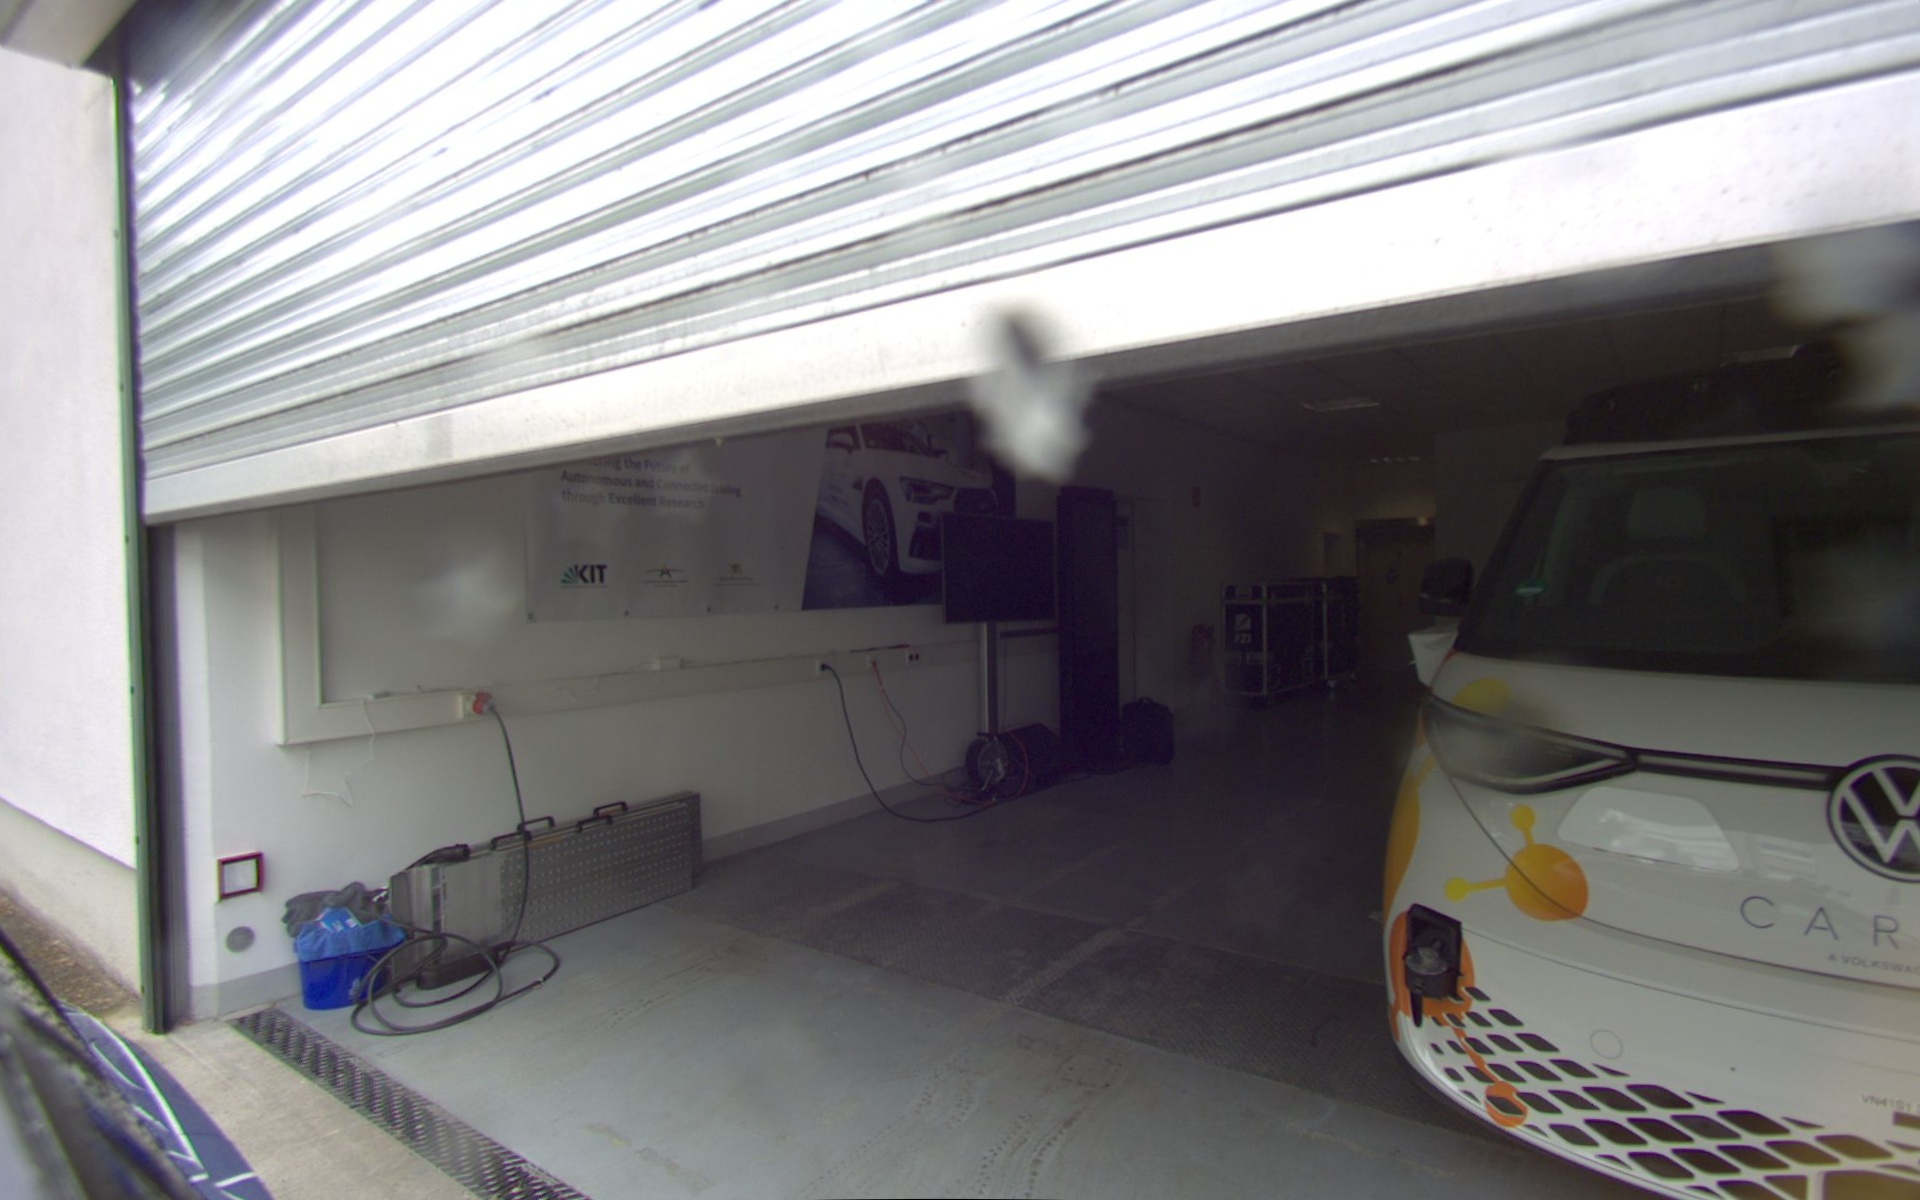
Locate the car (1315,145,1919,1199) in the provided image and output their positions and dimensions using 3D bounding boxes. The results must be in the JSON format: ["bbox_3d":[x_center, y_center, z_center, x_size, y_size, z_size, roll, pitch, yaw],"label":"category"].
[{"bbox_3d":[2.973,0.201,3.450,2.080,2.028,4.649,-1,2,36],"label":"car"}]
